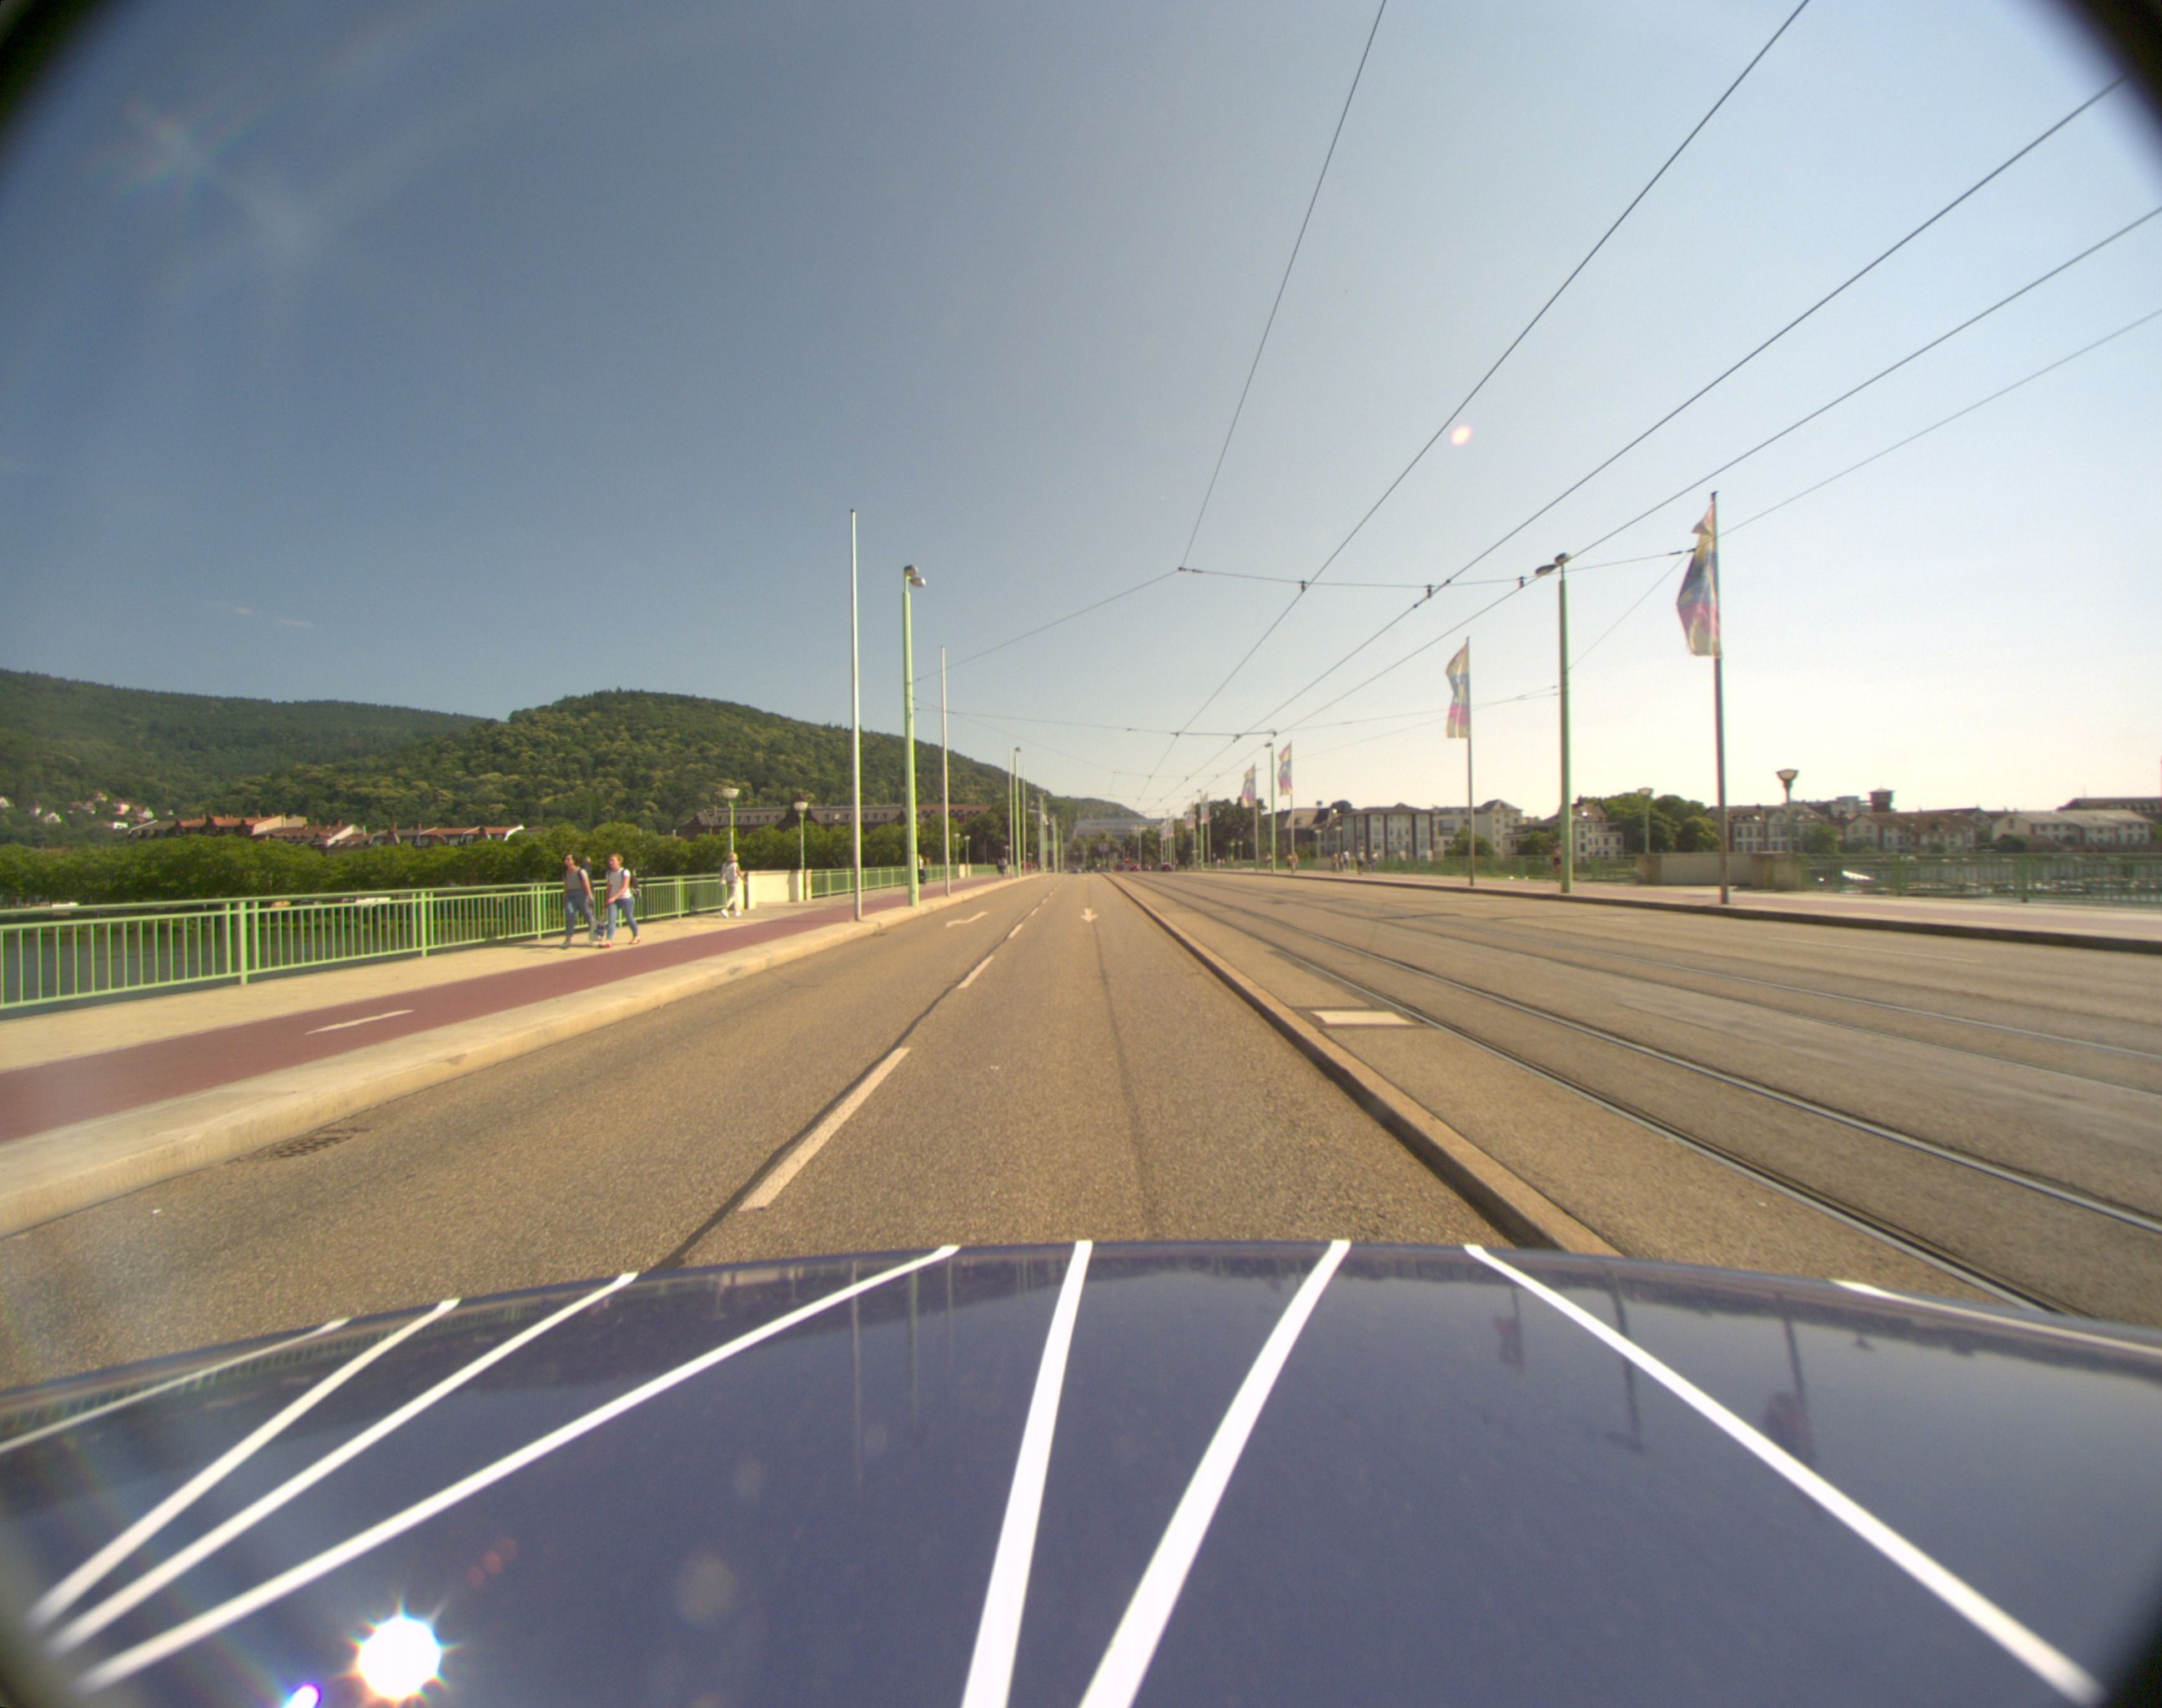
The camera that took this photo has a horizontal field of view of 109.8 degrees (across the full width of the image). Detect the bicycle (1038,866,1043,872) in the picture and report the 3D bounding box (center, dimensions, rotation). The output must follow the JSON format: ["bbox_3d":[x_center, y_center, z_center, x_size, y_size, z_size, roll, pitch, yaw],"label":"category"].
[{"bbox_3d":[-5.574,2.055,104.674,0.595,0.761,1.866,0,0,1],"label":"bicycle"}]

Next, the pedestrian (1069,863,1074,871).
[{"bbox_3d":[-2.600,3.522,202.216,1.202,2.002,1.035,-3,2,-2],"label":"pedestrian"}]

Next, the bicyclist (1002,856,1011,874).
[{"bbox_3d":[-6.779,1.005,69.195,0.731,1.655,0.844,-1,0,1],"label":"bicyclist"}]

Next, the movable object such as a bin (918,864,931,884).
[{"bbox_3d":[-8.886,1.136,43.154,0.583,1.084,0.933,0,0,0],"label":"movable object such as a bin"}]

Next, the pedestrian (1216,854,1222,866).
[{"bbox_3d":[19.754,0.813,108.865,0.592,1.690,1.022,-6,0,0],"label":"pedestrian"}]

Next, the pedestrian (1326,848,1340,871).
[{"bbox_3d":[18.349,0.401,55.345,0.627,1.590,1.022,-3,1,0],"label":"pedestrian"}]

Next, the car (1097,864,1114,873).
[{"bbox_3d":[6.326,3.770,196.286,3.997,2.002,2.000,-6,0,-2],"label":"car"}]

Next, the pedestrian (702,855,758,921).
[{"bbox_3d":[-9.024,0.858,19.583,0.950,1.653,1.082,0,1,0],"label":"pedestrian"}]

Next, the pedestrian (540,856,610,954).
[{"bbox_3d":[-8.742,0.860,13.157,0.669,1.649,0.746,-1,1,0],"label":"pedestrian"}]

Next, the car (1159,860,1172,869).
[{"bbox_3d":[13.905,1.746,124.553,1.721,1.446,3.901,0,0,0],"label":"car"}]

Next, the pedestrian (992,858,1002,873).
[{"bbox_3d":[-9.336,1.311,84.813,0.950,1.653,1.082,1,0,0],"label":"pedestrian"}]

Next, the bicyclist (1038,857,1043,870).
[{"bbox_3d":[-5.578,1.343,104.640,0.587,1.759,0.672,0,1,1],"label":"bicyclist"}]

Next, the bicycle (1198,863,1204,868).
[{"bbox_3d":[17.833,1.740,112.888,0.667,0.712,2.173,-1,0,1],"label":"bicycle"}]

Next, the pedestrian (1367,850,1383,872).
[{"bbox_3d":[19.036,0.441,49.258,0.592,1.406,1.022,-3,0,0],"label":"pedestrian"}]

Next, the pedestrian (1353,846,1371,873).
[{"bbox_3d":[18.331,0.357,49.604,0.671,1.690,1.022,-3,1,0],"label":"pedestrian"}]

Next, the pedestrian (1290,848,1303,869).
[{"bbox_3d":[18.544,0.384,65.358,0.787,1.690,1.022,-3,1,0],"label":"pedestrian"}]

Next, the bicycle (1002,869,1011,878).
[{"bbox_3d":[-6.798,1.746,69.283,0.595,0.761,1.866,0,0,1],"label":"bicycle"}]

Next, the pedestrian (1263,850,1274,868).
[{"bbox_3d":[19.063,0.497,77.194,0.787,1.690,1.022,-3,1,0],"label":"pedestrian"}]

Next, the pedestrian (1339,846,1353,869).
[{"bbox_3d":[19.835,0.255,56.815,0.592,1.690,1.022,-3,1,0],"label":"pedestrian"}]

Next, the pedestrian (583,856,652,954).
[{"bbox_3d":[-8.014,0.857,13.172,0.664,1.649,0.825,0,1,0],"label":"pedestrian"}]

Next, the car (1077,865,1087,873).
[{"bbox_3d":[0.186,3.325,170.671,1.998,1.379,4.000,-6,0,1],"label":"car"}]

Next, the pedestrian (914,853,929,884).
[{"bbox_3d":[-8.889,0.812,42.317,0.664,1.696,0.859,0,1,0],"label":"pedestrian"}]

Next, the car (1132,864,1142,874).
[{"bbox_3d":[11.510,3.102,157.276,1.714,1.686,4.000,-5,0,1],"label":"car"}]

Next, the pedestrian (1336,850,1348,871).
[{"bbox_3d":[19.011,0.469,55.340,0.547,1.429,0.789,-3,1,0],"label":"pedestrian"}]

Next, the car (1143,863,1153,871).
[{"bbox_3d":[14.441,2.812,163.885,1.672,1.428,4.000,-1,1,1],"label":"car"}]

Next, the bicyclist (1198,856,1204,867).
[{"bbox_3d":[17.824,1.156,112.838,0.666,1.641,0.622,-1,1,1],"label":"bicyclist"}]

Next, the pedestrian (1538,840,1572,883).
[{"bbox_3d":[19.398,0.296,31.119,0.686,1.680,1.022,-3,1,0],"label":"pedestrian"}]

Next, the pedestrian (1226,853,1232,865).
[{"bbox_3d":[20.925,0.659,107.534,0.592,1.690,0.905,-6,0,0],"label":"pedestrian"}]
